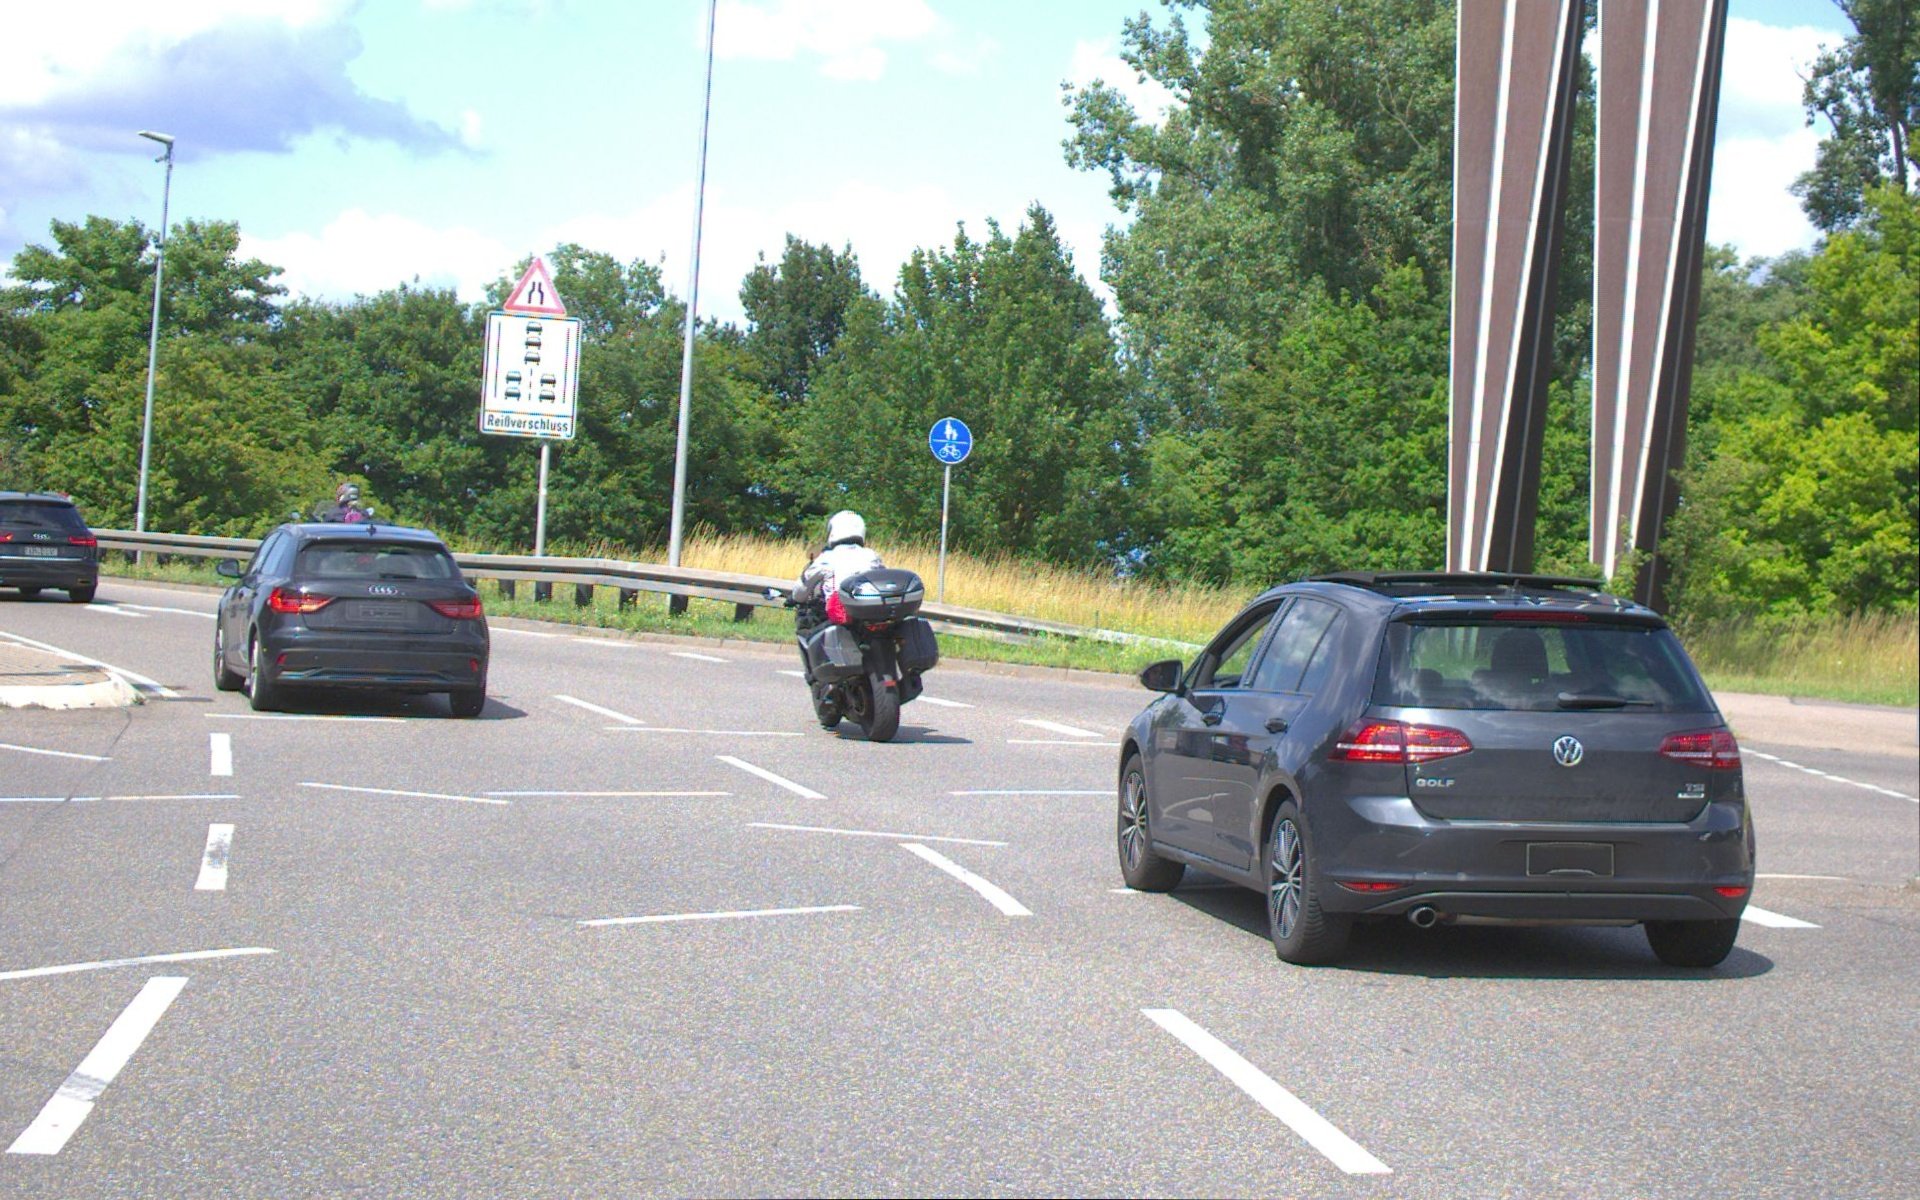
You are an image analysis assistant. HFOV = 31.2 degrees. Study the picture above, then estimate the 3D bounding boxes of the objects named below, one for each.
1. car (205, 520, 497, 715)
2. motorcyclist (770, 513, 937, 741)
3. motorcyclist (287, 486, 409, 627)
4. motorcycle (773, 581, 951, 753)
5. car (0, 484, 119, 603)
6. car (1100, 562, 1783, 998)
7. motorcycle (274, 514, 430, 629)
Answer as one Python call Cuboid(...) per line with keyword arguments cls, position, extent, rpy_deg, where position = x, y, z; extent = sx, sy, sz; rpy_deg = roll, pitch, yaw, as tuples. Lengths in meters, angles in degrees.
Cuboid(cls="car", position=(-4.792, 0.104, 26.690), extent=(1.681, 1.383, 3.740), rpy_deg=(1, 0, -18))
Cuboid(cls="motorcyclist", position=(-0.804, 0.188, 25.560), extent=(0.965, 1.615, 1.125), rpy_deg=(3, 0, -13))
Cuboid(cls="motorcyclist", position=(-7.183, -0.511, 40.327), extent=(0.966, 1.590, 1.125), rpy_deg=(3, 0, -33))
Cuboid(cls="motorcycle", position=(-0.752, 0.465, 25.346), extent=(0.789, 1.128, 2.400), rpy_deg=(3, 1, -13))
Cuboid(cls="car", position=(-12.607, -0.779, 46.182), extent=(1.642, 1.474, 3.873), rpy_deg=(2, 1, -27))
Cuboid(cls="car", position=(1.797, 0.626, 14.095), extent=(1.642, 1.474, 3.873), rpy_deg=(2, 1, -9))
Cuboid(cls="motorcycle", position=(-7.139, -0.347, 40.278), extent=(0.887, 1.243, 2.399), rpy_deg=(2, 1, -33))
